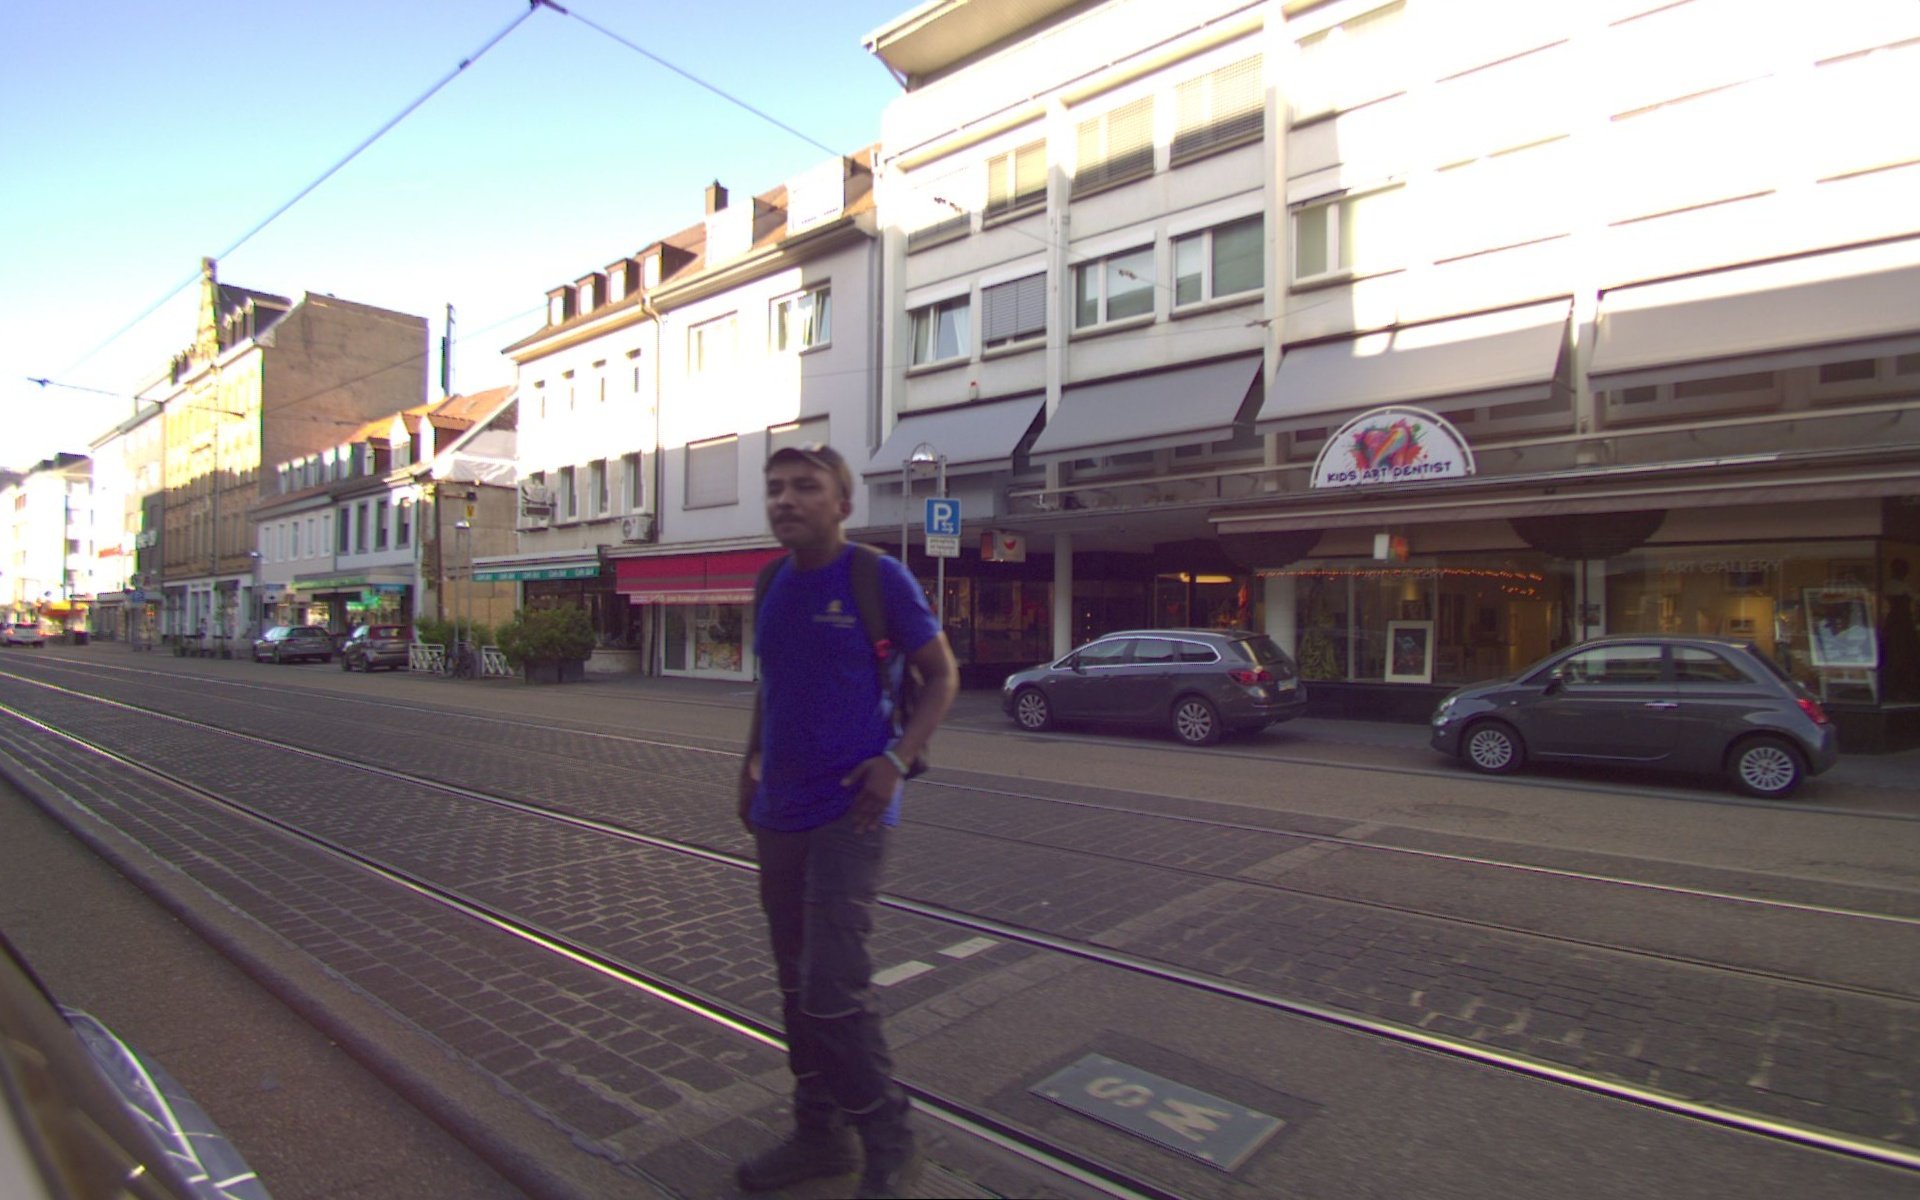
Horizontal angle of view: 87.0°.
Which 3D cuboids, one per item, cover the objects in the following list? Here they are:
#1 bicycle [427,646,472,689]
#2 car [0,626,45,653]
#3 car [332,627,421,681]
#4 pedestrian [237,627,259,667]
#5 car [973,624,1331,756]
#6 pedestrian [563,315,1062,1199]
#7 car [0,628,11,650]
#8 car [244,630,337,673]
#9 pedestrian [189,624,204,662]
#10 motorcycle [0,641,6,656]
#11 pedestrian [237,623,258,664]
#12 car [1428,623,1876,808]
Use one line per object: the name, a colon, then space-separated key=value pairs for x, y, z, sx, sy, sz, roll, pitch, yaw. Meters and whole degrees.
bicycle: x=-14.177 y=1.861 z=28.075 sx=1.715 sy=1.098 sz=0.513 roll=-1 pitch=0 yaw=41
car: x=-59.111 y=2.460 z=63.671 sx=3.674 sy=1.647 sz=1.779 roll=-1 pitch=-2 yaw=41
car: x=-19.166 y=1.739 z=33.198 sx=2.889 sy=1.616 sz=1.679 roll=-1 pitch=0 yaw=41
pedestrian: x=-32.623 y=2.141 z=46.379 sx=0.580 sy=1.775 sz=0.651 roll=-1 pitch=0 yaw=33
car: x=2.586 y=1.142 z=14.518 sx=4.850 sy=1.535 sz=1.719 roll=-1 pitch=0 yaw=42
pedestrian: x=-0.309 y=0.441 z=2.306 sx=0.746 sy=1.851 sz=0.796 roll=-1 pitch=-4 yaw=39
car: x=-71.404 y=2.853 z=74.587 sx=3.998 sy=1.542 sz=1.645 roll=-1 pitch=-3 yaw=41
car: x=-26.199 y=1.958 z=39.541 sx=4.760 sy=1.526 sz=1.798 roll=-1 pitch=-1 yaw=41
pedestrian: x=-37.185 y=2.069 z=49.284 sx=0.572 sy=1.819 sz=0.660 roll=-1 pitch=0 yaw=-38
motorcycle: x=-67.906 y=3.427 z=71.199 sx=1.934 sy=1.000 sz=0.895 roll=-1 pitch=-3 yaw=41
pedestrian: x=-33.164 y=2.008 z=47.121 sx=0.647 sy=1.863 sz=0.583 roll=-1 pitch=0 yaw=-19
car: x=6.973 y=1.036 z=10.475 sx=3.585 sy=1.535 sz=1.585 roll=-1 pitch=0 yaw=39
